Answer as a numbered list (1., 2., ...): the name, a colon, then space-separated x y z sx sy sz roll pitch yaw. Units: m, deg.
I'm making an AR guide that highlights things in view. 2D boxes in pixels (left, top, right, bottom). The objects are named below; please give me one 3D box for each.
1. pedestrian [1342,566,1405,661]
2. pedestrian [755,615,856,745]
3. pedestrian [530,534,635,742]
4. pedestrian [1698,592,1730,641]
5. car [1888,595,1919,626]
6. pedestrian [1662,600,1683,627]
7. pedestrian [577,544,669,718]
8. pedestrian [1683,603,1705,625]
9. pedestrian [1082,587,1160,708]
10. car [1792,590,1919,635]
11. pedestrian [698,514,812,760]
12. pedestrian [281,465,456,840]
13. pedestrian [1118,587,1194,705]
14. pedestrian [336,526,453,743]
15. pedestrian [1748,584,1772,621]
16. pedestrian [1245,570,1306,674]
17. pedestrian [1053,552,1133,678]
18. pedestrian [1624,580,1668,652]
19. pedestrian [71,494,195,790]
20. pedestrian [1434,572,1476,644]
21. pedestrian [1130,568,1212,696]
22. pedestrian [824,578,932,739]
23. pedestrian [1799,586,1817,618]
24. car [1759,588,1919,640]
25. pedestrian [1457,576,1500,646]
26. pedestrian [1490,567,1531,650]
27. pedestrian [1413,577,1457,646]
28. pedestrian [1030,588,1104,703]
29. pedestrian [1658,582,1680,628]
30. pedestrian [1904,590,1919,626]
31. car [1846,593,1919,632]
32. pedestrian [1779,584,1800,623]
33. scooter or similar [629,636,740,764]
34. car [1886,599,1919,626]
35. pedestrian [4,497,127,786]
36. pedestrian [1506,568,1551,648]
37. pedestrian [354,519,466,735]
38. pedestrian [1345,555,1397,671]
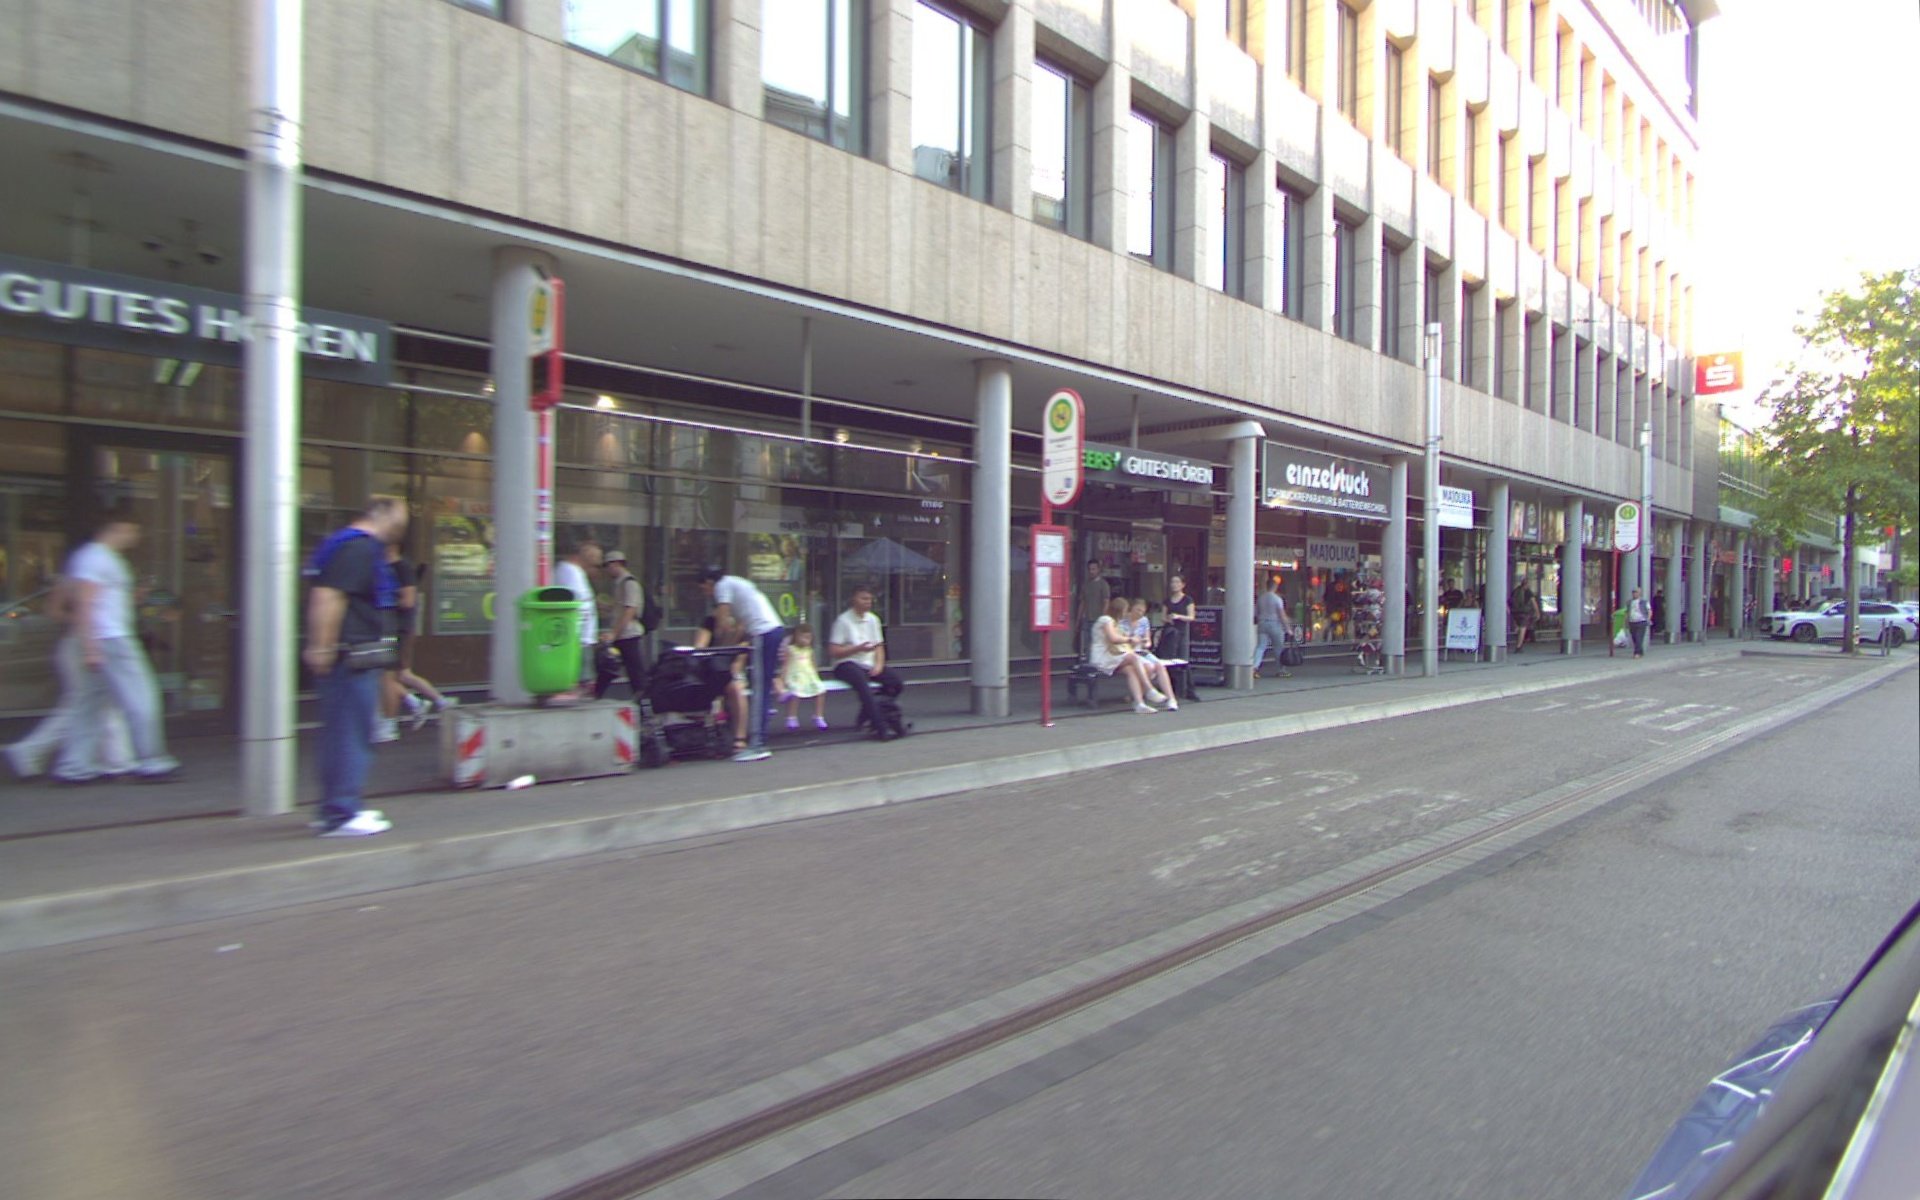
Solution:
1. pedestrian: 8.196 0.248 20.081 0.844 1.819 0.846 0 1 -41
2. pedestrian: -1.356 0.666 8.829 0.534 1.055 0.814 0 0 -40
3. pedestrian: -3.229 0.297 8.655 0.639 1.682 0.649 0 1 -41
4. pedestrian: 26.571 0.569 35.670 0.728 1.664 0.748 0 1 -42
5. car: 59.107 0.588 61.188 3.957 1.809 1.849 -2 -2 25
6. pedestrian: 28.430 0.539 40.388 0.625 1.048 0.550 2 1 40
7. pedestrian: -3.412 0.287 10.239 0.669 1.682 0.649 0 1 -41
8. pedestrian: 31.248 0.581 43.083 0.548 0.892 0.627 0 2 -42
9. pedestrian: 1.846 0.522 11.636 0.523 1.331 0.719 0 0 -40
10. car: 37.488 0.499 41.625 4.570 1.607 1.910 3 2 14
11. pedestrian: -1.645 0.272 8.113 0.656 1.862 0.641 0 1 -41
12. pedestrian: -3.222 0.251 5.511 0.696 1.862 0.669 0 1 -42
13. pedestrian: 2.304 0.518 11.927 0.515 1.331 0.719 0 0 -40
14. pedestrian: -4.888 0.274 8.746 0.760 1.774 0.583 0 1 -43
15. pedestrian: 37.378 0.102 47.279 0.617 1.712 0.557 1 1 7
16. pedestrian: 5.284 0.352 16.951 0.709 1.682 0.689 0 1 -41
17. pedestrian: 2.093 0.206 15.930 0.883 1.913 0.846 0 1 -42
18. pedestrian: 15.618 0.366 23.041 0.627 1.608 0.669 0 -1 -42
19. pedestrian: -5.429 0.253 6.644 0.594 1.829 0.539 0 1 -43
20. pedestrian: 12.618 0.192 25.788 0.849 1.794 0.674 0 1 -43
21. pedestrian: 2.723 0.386 13.070 0.723 1.589 0.726 0 1 -40
22. pedestrian: -0.763 0.508 9.349 0.651 1.398 0.814 0 0 -40
23. pedestrian: 46.577 0.119 55.577 0.617 1.712 0.617 0 1 -41
24. car: 32.212 0.514 36.710 4.574 1.650 1.908 3 0 17
25. pedestrian: 12.614 0.256 24.640 0.775 1.664 0.681 0 1 -43
26. pedestrian: 12.948 0.180 23.823 0.671 1.913 0.617 0 1 -40
27. pedestrian: 11.723 0.265 24.985 0.805 1.664 0.711 0 1 -43
28. pedestrian: 1.278 0.521 12.122 0.523 1.331 0.719 0 0 -40
29. pedestrian: 27.751 0.191 39.609 0.617 1.794 0.557 0 1 -41
30. pedestrian: 45.396 0.379 48.219 0.616 1.712 0.618 1 0 44
31. car: 48.017 0.620 51.164 4.397 1.904 1.793 -2 -2 12
32. pedestrian: 37.707 0.148 45.993 0.617 1.712 0.617 0 2 -41
33. scooter or similar: -2.158 0.745 7.890 0.673 0.895 0.837 0 -1 -28
34. car: 55.809 0.676 57.723 3.948 1.530 1.853 -2 -1 19
35. pedestrian: -5.991 0.254 6.787 0.594 1.829 0.539 0 1 -43
36. pedestrian: 13.885 0.177 24.724 0.782 1.913 0.708 0 1 -41
37. pedestrian: -5.126 0.224 9.433 0.760 1.906 0.688 0 1 -43
38. pedestrian: 7.126 0.204 17.539 0.644 1.968 0.579 0 1 -42
